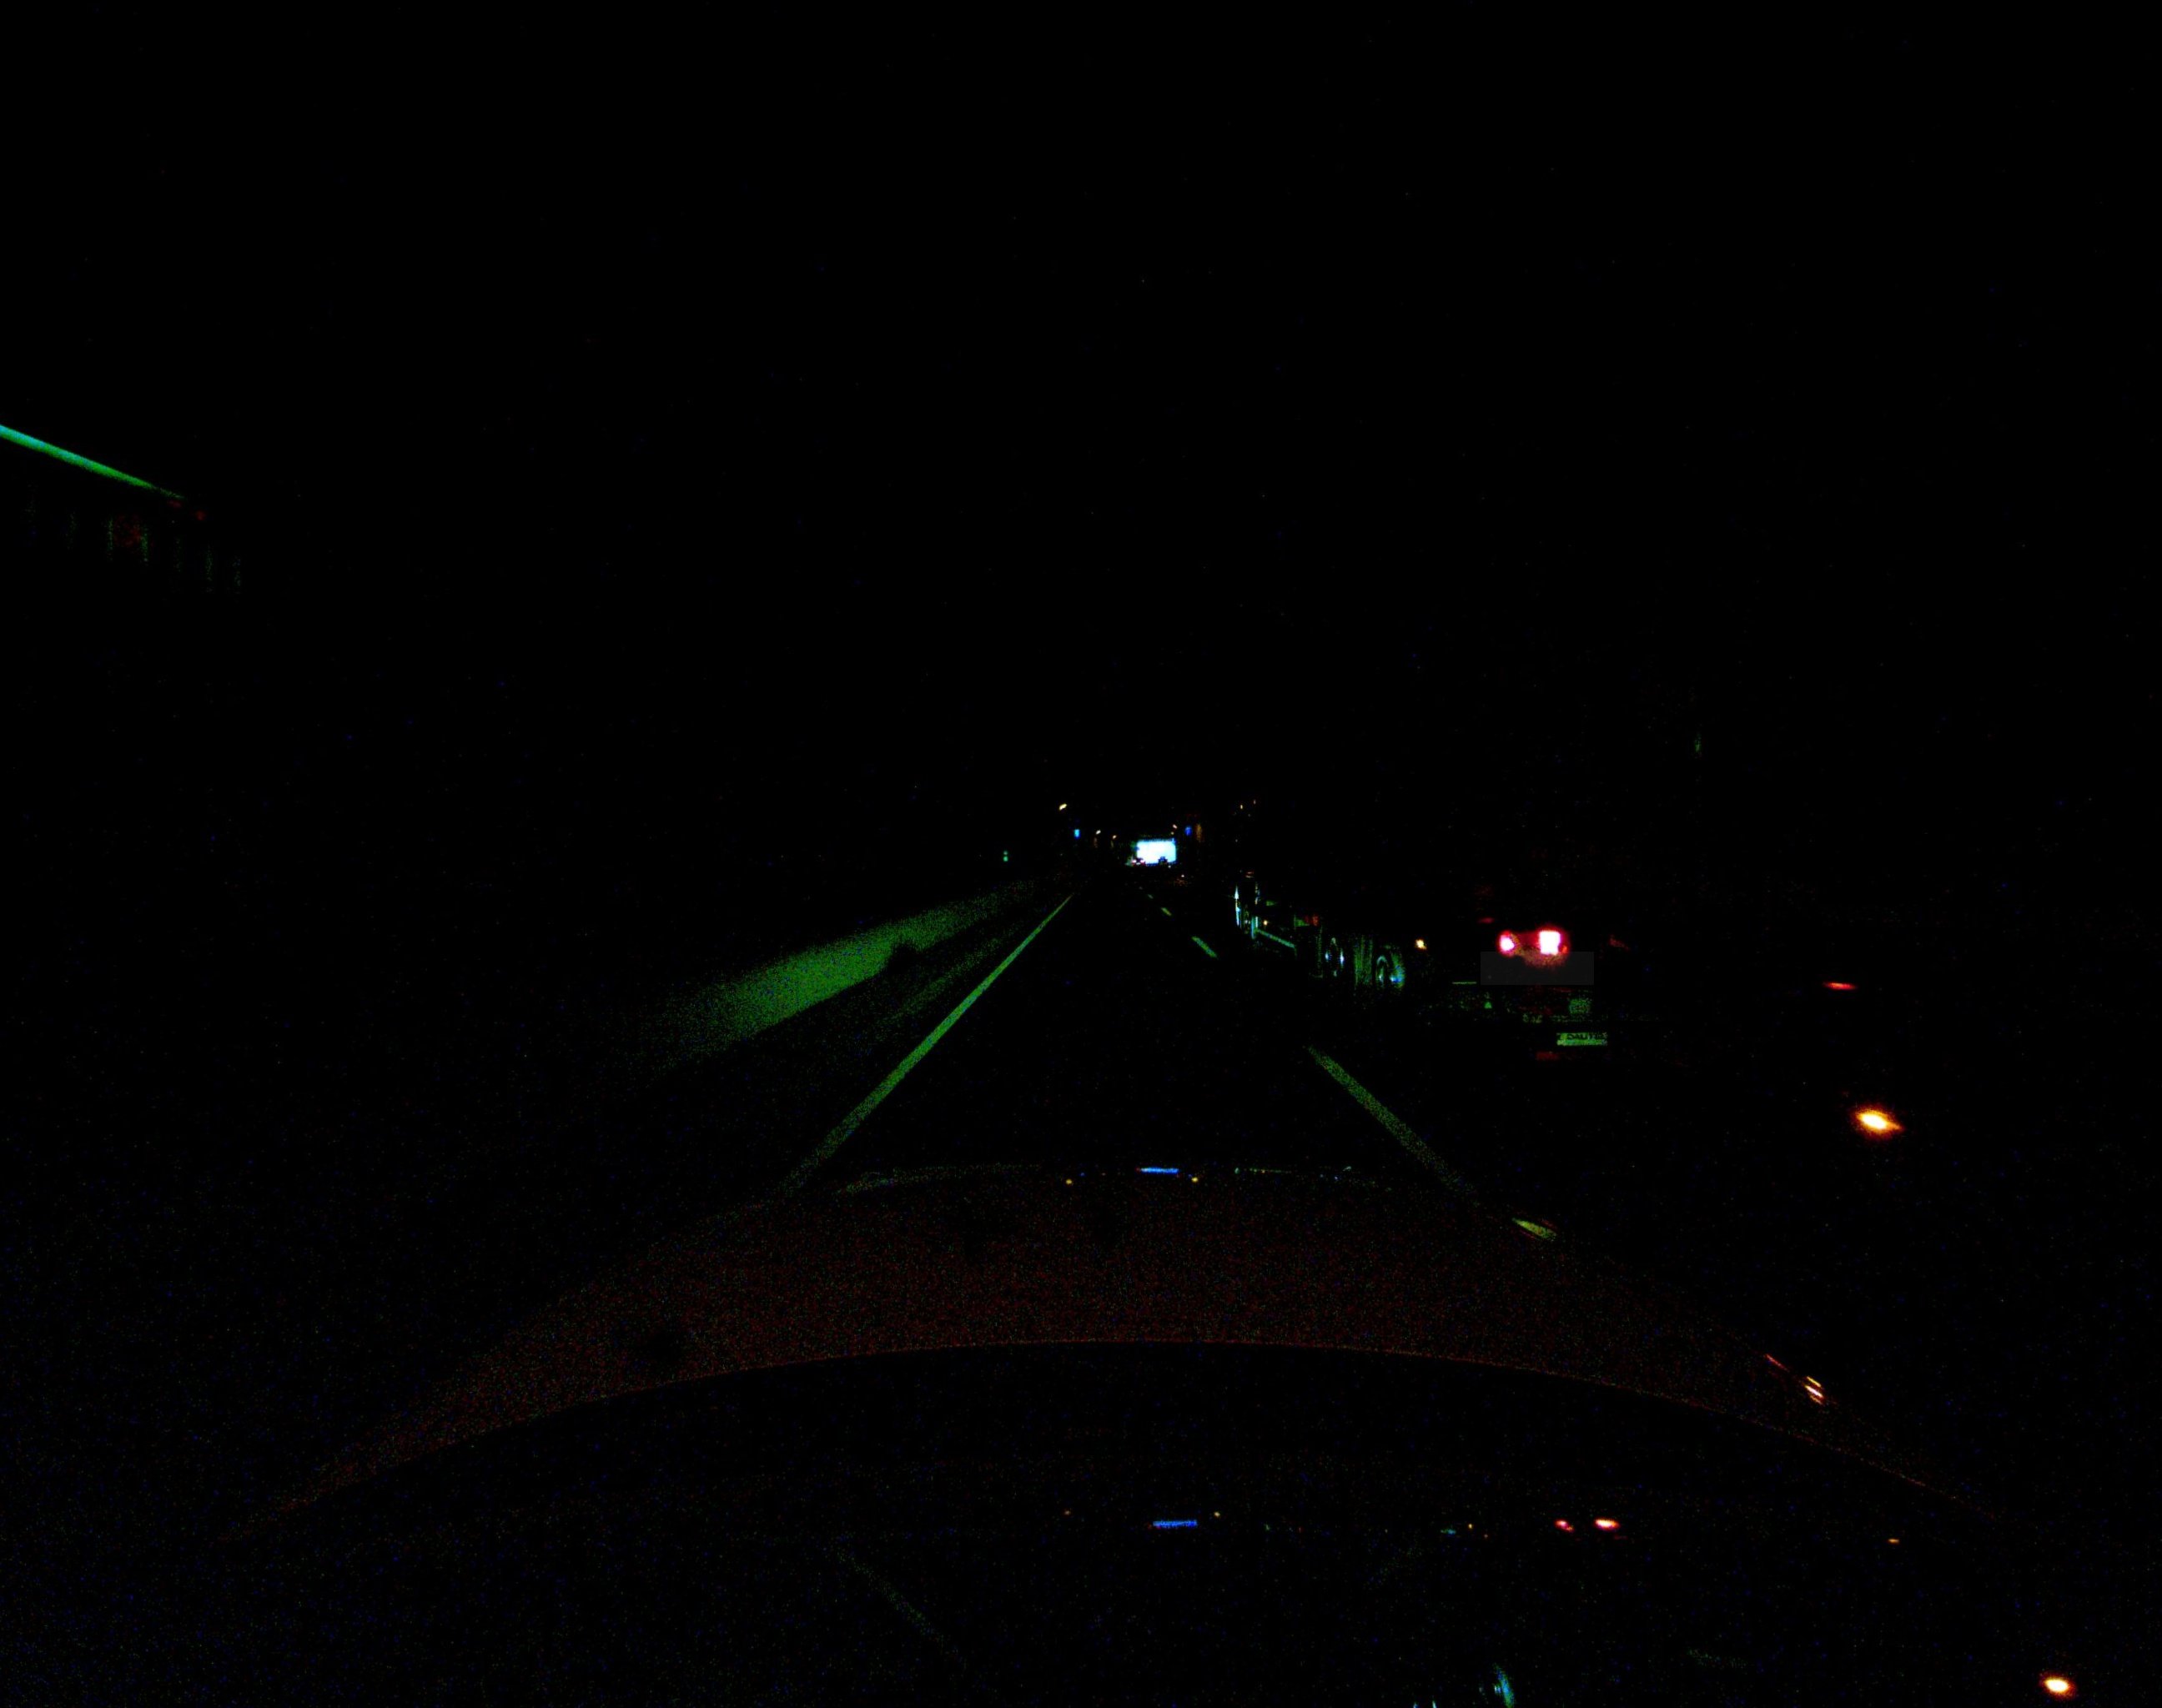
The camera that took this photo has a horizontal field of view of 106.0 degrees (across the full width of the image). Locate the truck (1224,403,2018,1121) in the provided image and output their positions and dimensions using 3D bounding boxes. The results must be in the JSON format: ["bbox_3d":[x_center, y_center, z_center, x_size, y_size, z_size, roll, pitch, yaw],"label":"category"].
[{"bbox_3d":[3.809,-0.481,9.413,2.878,3.913,9.913,0,0,2],"label":"truck"}]

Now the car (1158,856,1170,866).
[{"bbox_3d":[15.009,1.217,147.643,1.858,1.732,4.011,-1,-1,10],"label":"car"}]

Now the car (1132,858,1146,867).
[{"bbox_3d":[9.201,1.294,128.749,1.830,1.388,4.010,-1,-1,9],"label":"car"}]
